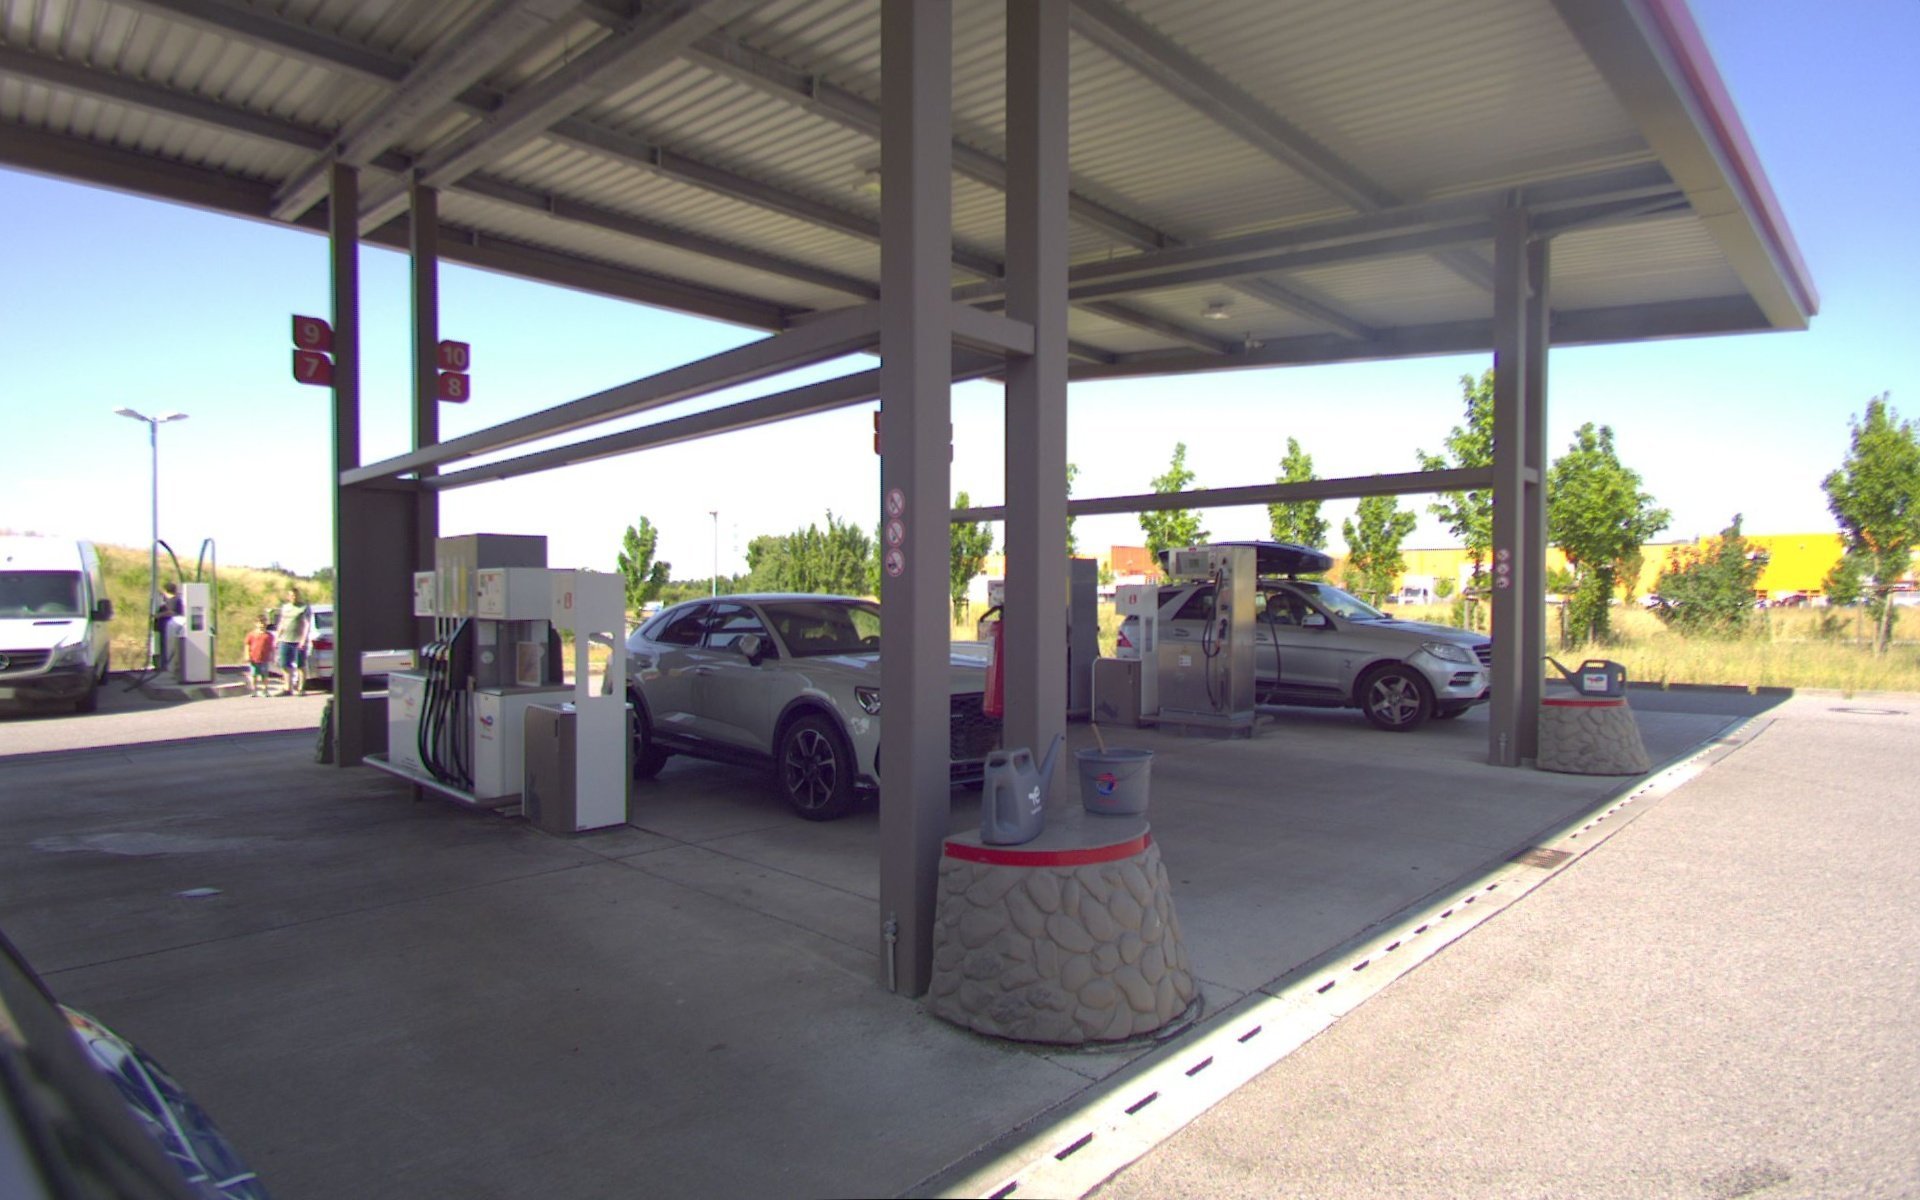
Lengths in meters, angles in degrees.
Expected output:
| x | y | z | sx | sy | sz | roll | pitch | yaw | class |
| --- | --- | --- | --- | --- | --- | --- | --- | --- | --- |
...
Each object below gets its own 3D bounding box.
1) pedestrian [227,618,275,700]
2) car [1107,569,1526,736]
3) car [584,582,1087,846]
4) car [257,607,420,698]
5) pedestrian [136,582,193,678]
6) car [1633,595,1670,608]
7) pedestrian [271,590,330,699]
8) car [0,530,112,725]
| x | y | z | sx | sy | sz | roll | pitch | yaw | class |
| --- | --- | --- | --- | --- | --- | --- | --- | --- | --- |
| -11.704 | 0.954 | 16.712 | 0.569 | 1.316 | 0.670 | 0 | -1 | -42 | pedestrian |
| 4.242 | 0.563 | 12.513 | 4.534 | 1.700 | 1.840 | -1 | -1 | 42 | car |
| -1.235 | 0.689 | 8.117 | 1.759 | 1.553 | 4.329 | 0 | -1 | -44 | car |
| -11.766 | 0.887 | 19.024 | 1.766 | 1.439 | 4.326 | 0 | 0 | -44 | car |
| -15.234 | 0.560 | 19.373 | 0.832 | 1.783 | 0.710 | 0 | -1 | -41 | pedestrian |
| 72.238 | 0.191 | 105.749 | 1.463 | 1.309 | 2.949 | 0 | -1 | -43 | car |
| -11.082 | 0.727 | 17.002 | 0.698 | 1.762 | 0.846 | 0 | -1 | -42 | pedestrian |
| -15.007 | 0.277 | 16.185 | 1.968 | 2.590 | 7.046 | 0 | 1 | -38 | car |
